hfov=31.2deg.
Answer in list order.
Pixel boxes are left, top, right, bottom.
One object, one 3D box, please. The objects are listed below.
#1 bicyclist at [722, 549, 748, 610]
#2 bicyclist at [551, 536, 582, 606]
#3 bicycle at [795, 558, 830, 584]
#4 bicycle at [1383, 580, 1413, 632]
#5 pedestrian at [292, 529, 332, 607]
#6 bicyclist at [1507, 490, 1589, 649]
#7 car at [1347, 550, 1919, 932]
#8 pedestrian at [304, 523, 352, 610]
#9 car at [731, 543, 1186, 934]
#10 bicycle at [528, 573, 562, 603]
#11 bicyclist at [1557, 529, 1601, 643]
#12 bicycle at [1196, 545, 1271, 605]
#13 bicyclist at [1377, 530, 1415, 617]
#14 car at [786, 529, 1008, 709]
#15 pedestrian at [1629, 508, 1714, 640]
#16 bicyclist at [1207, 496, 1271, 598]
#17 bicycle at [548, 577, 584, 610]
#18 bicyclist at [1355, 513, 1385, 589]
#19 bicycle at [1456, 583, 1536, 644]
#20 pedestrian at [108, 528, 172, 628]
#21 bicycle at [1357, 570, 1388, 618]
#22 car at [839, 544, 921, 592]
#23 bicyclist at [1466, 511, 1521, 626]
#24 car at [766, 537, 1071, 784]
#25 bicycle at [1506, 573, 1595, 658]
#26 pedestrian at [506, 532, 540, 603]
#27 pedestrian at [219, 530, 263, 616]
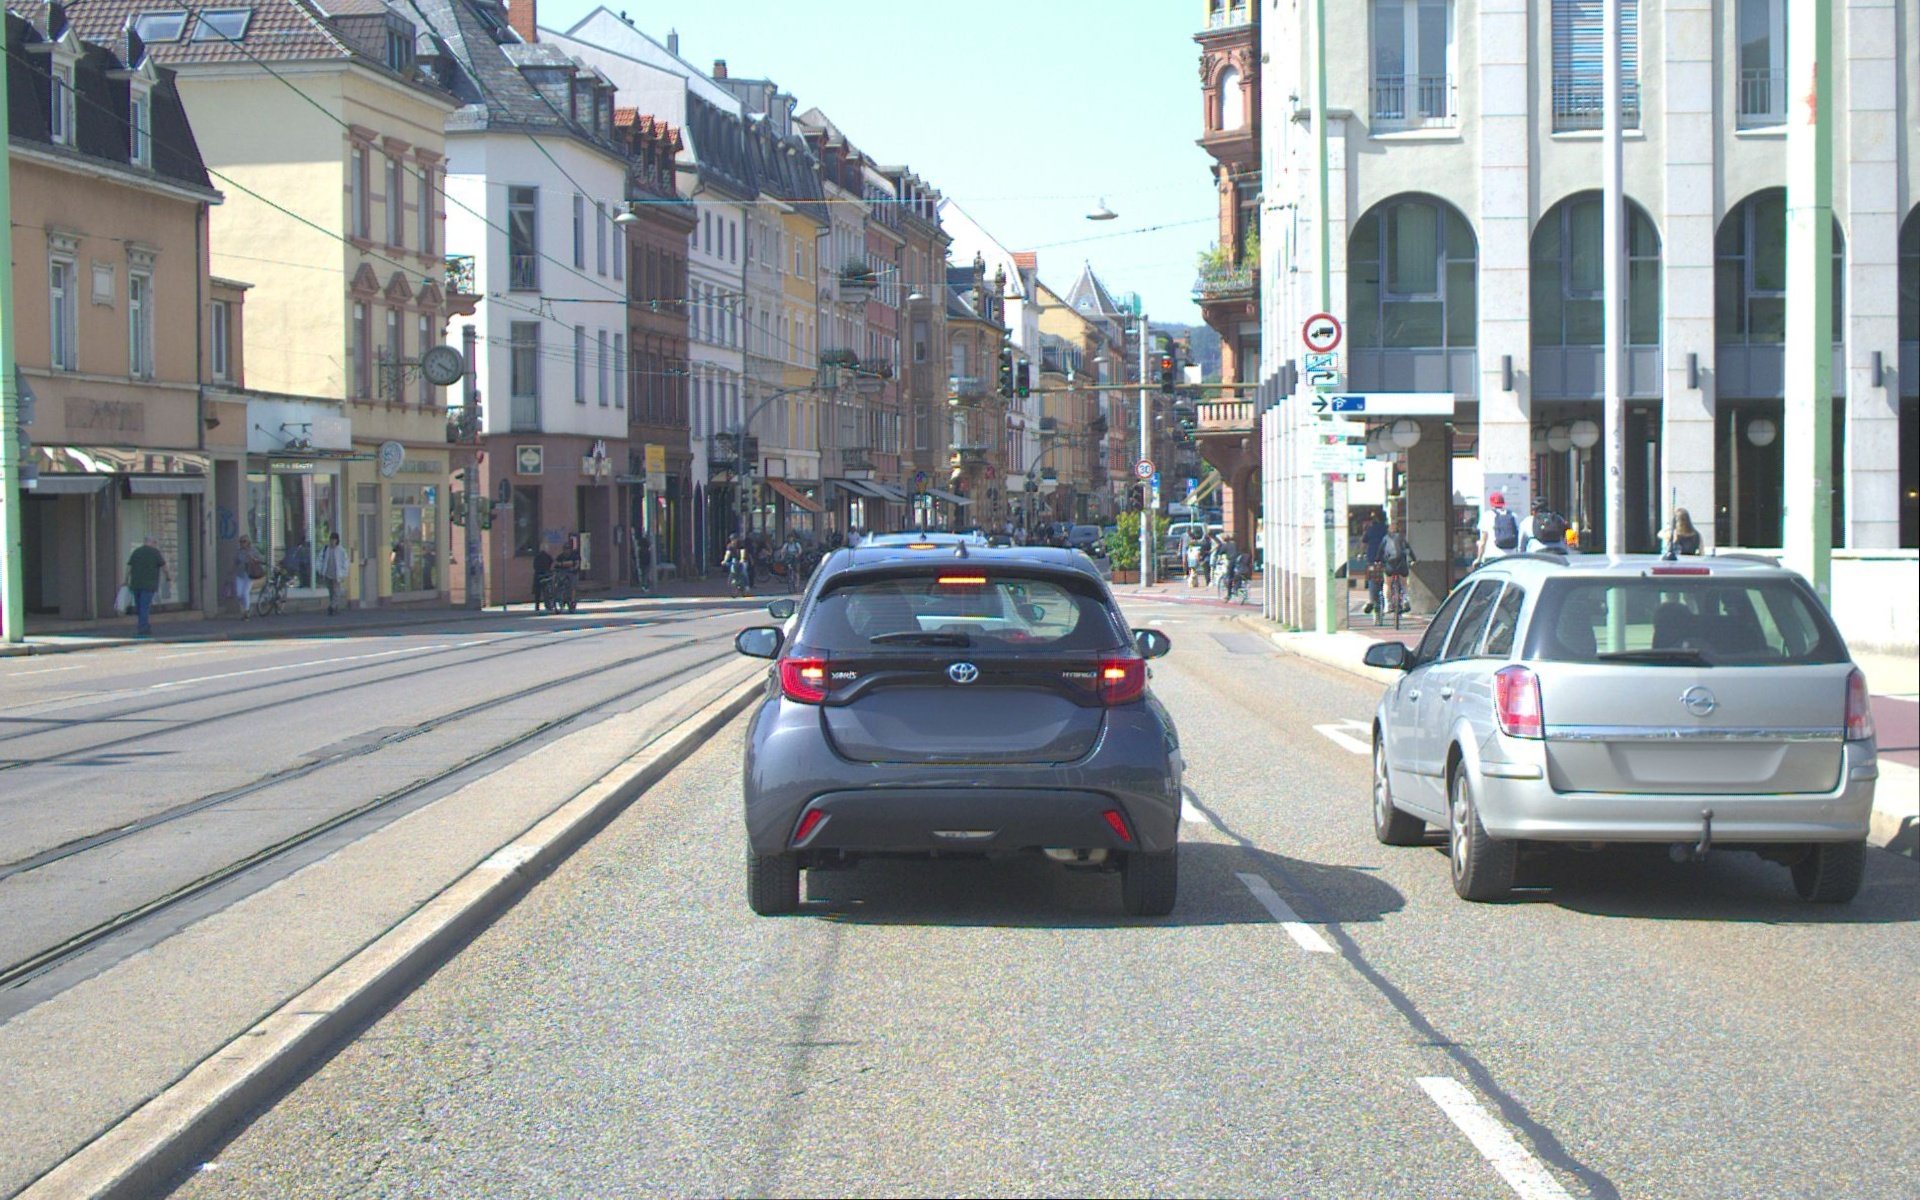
[{"bbox_3d":[-6.206,-0.565,94.917,0.627,1.644,0.622,1,2,1],"label":"bicyclist"},{"bbox_3d":[-9.319,-0.687,81.348,0.627,1.644,0.622,1,2,1],"label":"bicyclist"},{"bbox_3d":[-4.391,-0.866,102.382,0.620,0.713,2.044,2,2,9],"label":"bicycle"},{"bbox_3d":[6.752,0.088,52.991,0.416,0.763,1.205,-2,1,6],"label":"bicycle"},{"bbox_3d":[-13.902,-0.690,73.746,0.649,1.596,0.566,4,3,0],"label":"pedestrian"},{"bbox_3d":[6.399,-0.337,37.440,0.701,1.689,0.924,-1,1,1],"label":"bicyclist"},{"bbox_3d":[2.898,0.526,15.714,1.705,1.461,4.326,1,1,0],"label":"car"},{"bbox_3d":[-13.158,-0.697,71.554,0.736,1.760,0.787,4,1,0],"label":"pedestrian"},{"bbox_3d":[-0.023,0.502,15.012,1.720,1.468,3.658,1,1,0],"label":"car"},{"bbox_3d":[-10.415,-0.307,86.345,0.620,0.713,1.771,1,2,0],"label":"bicycle"},{"bbox_3d":[7.642,-0.175,42.443,0.422,1.378,0.443,-2,1,0],"label":"bicyclist"},{"bbox_3d":[6.989,-0.663,88.030,1.112,1.415,3.008,4,1,-10],"label":"bicycle"},{"bbox_3d":[6.715,-0.414,52.955,0.538,1.312,0.671,-2,1,7],"label":"bicyclist"},{"bbox_3d":[-0.564,0.129,31.748,1.897,1.525,4.000,1,1,0],"label":"car"},{"bbox_3d":[8.984,-0.332,43.459,0.739,1.609,1.016,4,1,-1],"label":"pedestrian"},{"bbox_3d":[7.129,-1.356,87.863,1.227,2.520,1.105,4,1,-9],"label":"bicyclist"},{"bbox_3d":[-9.321,-0.164,81.355,0.620,0.713,1.771,1,2,0],"label":"bicycle"},{"bbox_3d":[6.793,-0.815,56.973,0.422,1.252,0.443,-2,1,3],"label":"bicyclist"},{"bbox_3d":[6.921,0.174,44.419,0.416,0.763,0.961,-3,1,-39],"label":"bicycle"},{"bbox_3d":[-13.948,-0.372,58.493,0.762,1.648,0.711,4,1,5],"label":"pedestrian"},{"bbox_3d":[6.825,-0.106,56.932,0.416,0.763,0.962,-2,1,3],"label":"bicycle"},{"bbox_3d":[-2.465,-1.005,106.618,1.732,1.455,4.372,0,1,10],"label":"car"},{"bbox_3d":[6.898,-0.404,44.414,0.484,1.461,0.443,-3,1,-39],"label":"bicyclist"},{"bbox_3d":[-0.277,0.347,23.629,1.897,1.525,4.000,1,1,0],"label":"car"},{"bbox_3d":[6.414,0.159,37.403,0.704,0.879,1.525,-1,1,1],"label":"bicycle"},{"bbox_3d":[-10.997,-0.828,86.473,0.736,1.760,0.787,0,2,0],"label":"pedestrian"},{"bbox_3d":[-13.995,-0.528,66.949,0.649,1.596,0.566,4,3,0],"label":"pedestrian"}]
